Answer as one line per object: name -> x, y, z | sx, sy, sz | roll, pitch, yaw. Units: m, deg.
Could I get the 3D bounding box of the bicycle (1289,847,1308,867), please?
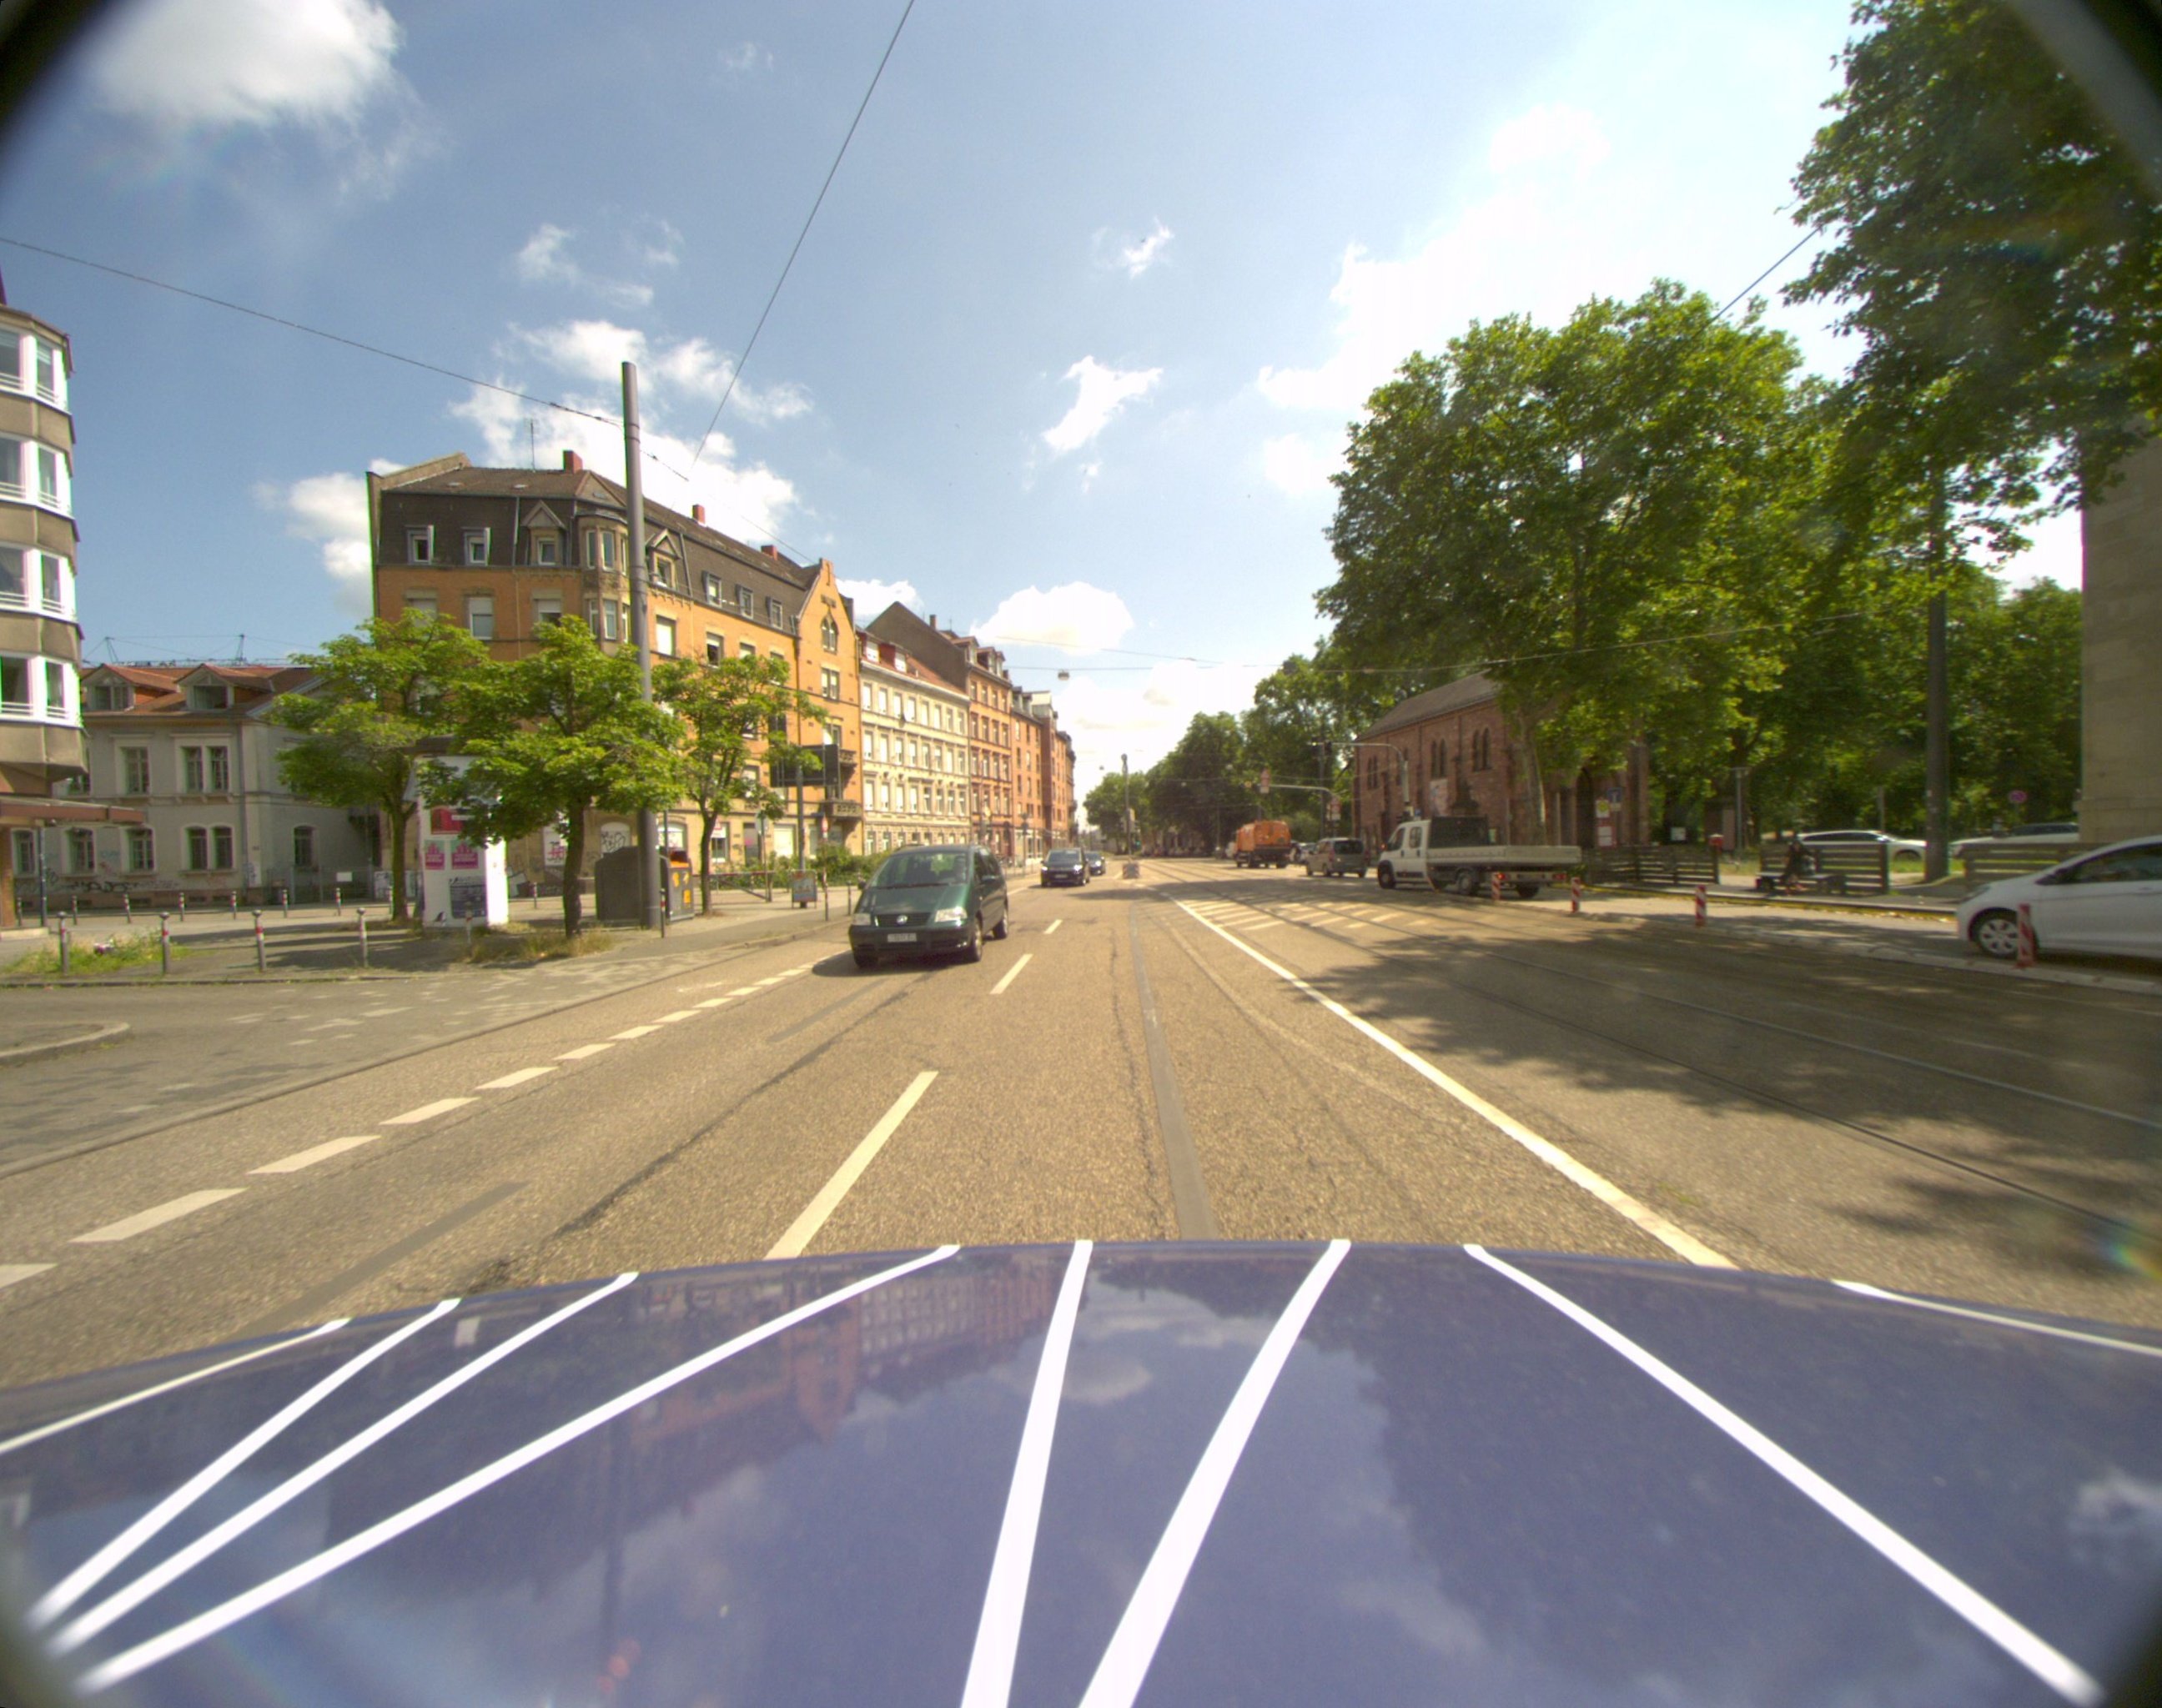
bicycle -> 14.974, 0.178, 52.342 | 0.706, 1.282, 2.218 | -2, 1, 0

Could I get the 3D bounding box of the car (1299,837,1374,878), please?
car -> 11.782, 0.097, 35.345 | 1.925, 1.736, 4.536 | 1, 1, 0

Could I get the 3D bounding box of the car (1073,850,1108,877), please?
car -> 0.651, 0.541, 46.544 | 1.914, 1.386, 4.313 | -3, 2, 3

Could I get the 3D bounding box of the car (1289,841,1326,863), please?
car -> 17.404, -0.190, 58.545 | 1.761, 1.489, 3.999 | -3, 1, 2

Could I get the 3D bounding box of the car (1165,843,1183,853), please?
car -> 14.489, -0.909, 118.203 | 1.762, 1.489, 3.996 | -3, 1, -8

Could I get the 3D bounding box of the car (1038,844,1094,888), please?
car -> -0.562, 0.461, 32.732 | 1.875, 1.610, 4.189 | -2, 2, 5

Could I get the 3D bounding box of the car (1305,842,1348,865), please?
car -> 17.349, -0.074, 53.825 | 1.761, 1.489, 3.999 | -3, 1, 2

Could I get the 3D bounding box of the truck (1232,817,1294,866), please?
truck -> 12.264, -0.872, 51.925 | 2.645, 3.089, 7.221 | 0, 1, 1

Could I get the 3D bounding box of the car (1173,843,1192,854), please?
car -> 15.195, -0.884, 113.786 | 1.762, 1.489, 3.996 | -3, 1, -8

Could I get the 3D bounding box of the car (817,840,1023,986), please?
car -> -2.274, 0.727, 12.309 | 1.822, 1.747, 5.031 | -3, 2, 4

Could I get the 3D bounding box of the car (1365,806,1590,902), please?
car -> 11.142, -0.012, 22.301 | 2.263, 2.360, 6.975 | 0, 0, -7

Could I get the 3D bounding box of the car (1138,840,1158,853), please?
car -> 12.252, -1.336, 139.525 | 1.765, 2.172, 3.991 | -4, 2, -28

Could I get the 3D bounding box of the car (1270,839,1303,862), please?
car -> 17.513, -0.347, 64.868 | 1.761, 1.826, 3.999 | -3, 1, 2

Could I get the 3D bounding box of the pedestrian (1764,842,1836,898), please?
pedestrian -> 16.901, 0.354, 17.884 | 0.757, 1.205, 0.913 | -7, 2, 3

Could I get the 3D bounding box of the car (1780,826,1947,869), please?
car -> 31.610, -0.286, 30.860 | 1.764, 1.599, 4.400 | -2, 1, -29

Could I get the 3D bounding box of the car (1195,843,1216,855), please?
car -> 16.798, -0.664, 102.710 | 1.762, 1.489, 3.997 | -3, 1, -5

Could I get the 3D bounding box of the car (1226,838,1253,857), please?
car -> 17.633, -0.718, 84.738 | 1.993, 1.993, 4.083 | -3, 1, -1

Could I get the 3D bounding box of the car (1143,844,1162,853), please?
car -> 12.165, -0.961, 130.009 | 1.763, 1.489, 3.993 | -3, 2, -17

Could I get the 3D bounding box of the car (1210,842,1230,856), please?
car -> 17.518, -0.649, 95.819 | 1.761, 1.489, 3.999 | -3, 1, 2

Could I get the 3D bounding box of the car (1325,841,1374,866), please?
car -> 17.330, -0.064, 49.230 | 1.761, 1.489, 3.999 | -3, 1, 2

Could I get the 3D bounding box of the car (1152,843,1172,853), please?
car -> 13.316, -0.965, 125.177 | 1.763, 1.489, 3.994 | -3, 2, -15

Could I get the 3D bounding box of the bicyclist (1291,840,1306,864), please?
bicyclist -> 14.959, -0.144, 52.286 | 0.703, 1.676, 1.176 | -2, 1, 0

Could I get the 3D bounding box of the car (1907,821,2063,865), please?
car -> 37.594, -0.457, 31.710 | 1.764, 1.684, 3.989 | -2, 2, -33

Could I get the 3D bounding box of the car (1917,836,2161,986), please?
car -> 11.484, 0.561, 7.734 | 1.764, 1.471, 3.787 | 0, 0, 0

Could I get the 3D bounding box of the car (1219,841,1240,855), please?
car -> 17.490, -0.759, 89.683 | 1.761, 1.489, 3.999 | -3, 1, 2
